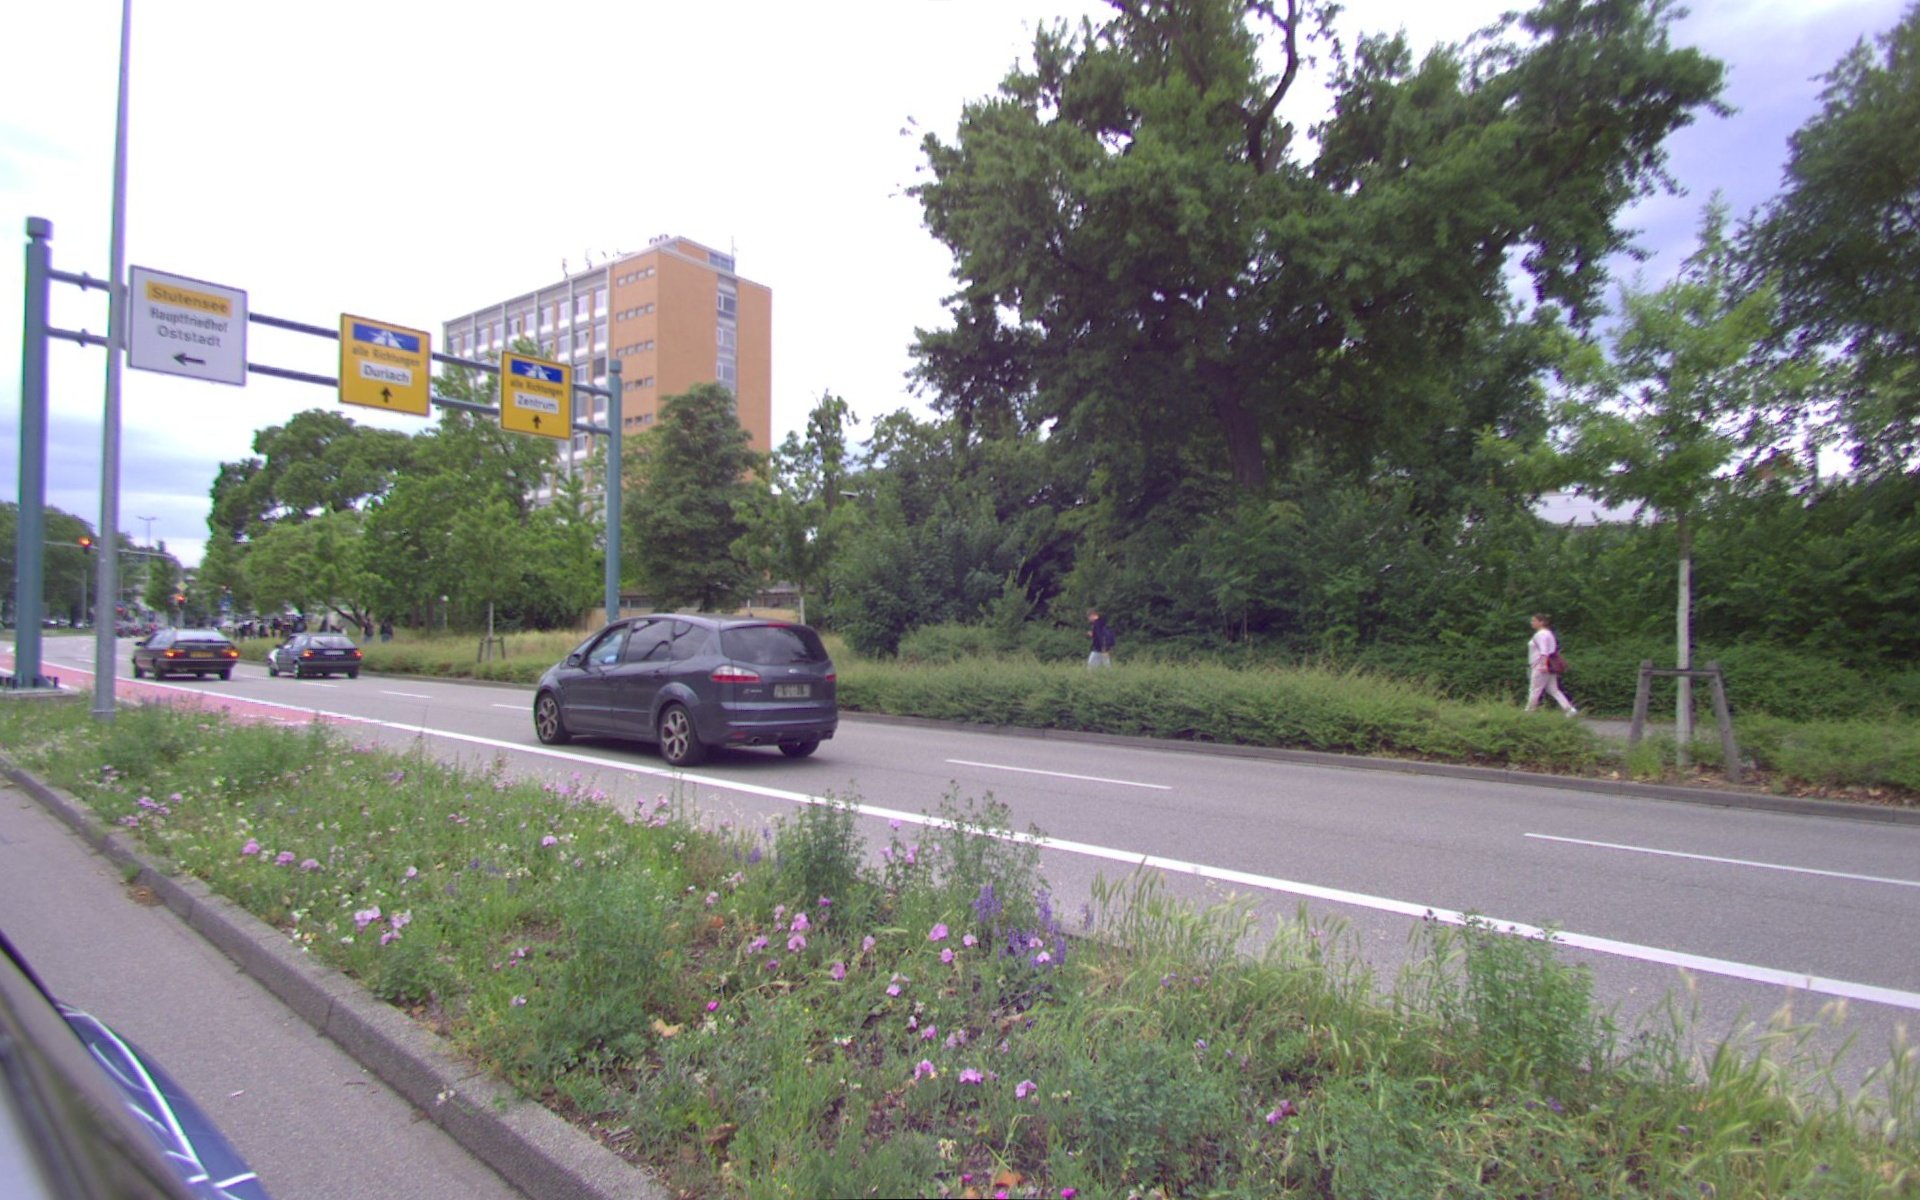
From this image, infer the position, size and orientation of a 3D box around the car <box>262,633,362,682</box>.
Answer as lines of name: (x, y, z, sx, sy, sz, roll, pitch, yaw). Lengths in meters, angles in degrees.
car: (-19.761, 1.729, 30.793, 3.807, 1.391, 1.590, -2, -4, 42)

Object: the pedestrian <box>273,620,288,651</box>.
pedestrian: (-35.673, 1.876, 53.136, 0.567, 1.621, 0.618, 3, -4, -33)

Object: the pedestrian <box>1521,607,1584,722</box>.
pedestrian: (8.862, 0.955, 15.138, 0.671, 1.648, 0.693, -2, -4, 41)

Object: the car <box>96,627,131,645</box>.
car: (-85.872, 3.643, 102.696, 1.785, 1.680, 3.962, 2, -2, -27)

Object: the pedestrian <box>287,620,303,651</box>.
pedestrian: (-35.163, 1.869, 53.495, 0.652, 1.644, 0.765, 3, -4, -34)

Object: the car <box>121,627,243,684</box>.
car: (-22.122, 1.542, 28.710, 4.788, 1.471, 1.746, -1, -4, 40)

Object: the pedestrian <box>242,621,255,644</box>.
pedestrian: (-54.512, 2.478, 77.542, 0.890, 1.683, 0.698, -2, -1, 45)

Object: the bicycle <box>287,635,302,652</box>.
bicycle: (-35.168, 2.286, 53.473, 0.652, 0.894, 1.719, 3, -3, -34)

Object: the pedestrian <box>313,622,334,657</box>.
pedestrian: (-31.217, 1.927, 49.619, 0.719, 1.673, 0.580, -1, -4, 35)

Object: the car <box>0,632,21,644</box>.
car: (-105.502, 4.184, 111.929, 1.756, 1.271, 3.541, 0, -1, -31)

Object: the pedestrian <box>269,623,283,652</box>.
pedestrian: (-40.947, 2.253, 60.587, 0.570, 1.725, 0.764, 2, -3, -31)

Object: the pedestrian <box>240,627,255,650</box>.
pedestrian: (-45.878, 2.491, 65.133, 0.762, 1.491, 0.628, -2, -4, 44)

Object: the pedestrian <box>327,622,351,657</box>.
pedestrian: (-30.808, 1.967, 50.185, 0.766, 1.685, 0.700, -1, -4, 35)

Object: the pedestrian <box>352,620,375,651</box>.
pedestrian: (-26.499, 1.571, 44.983, 0.711, 1.368, 0.638, -2, -4, 40)

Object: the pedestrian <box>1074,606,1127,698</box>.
pedestrian: (2.752, 1.014, 19.843, 0.818, 1.742, 0.613, -2, -4, 41)

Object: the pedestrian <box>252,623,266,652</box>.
pedestrian: (-41.684, 2.240, 60.206, 0.613, 1.708, 0.748, 3, -4, -34)

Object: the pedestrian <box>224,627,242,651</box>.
pedestrian: (-46.424, 2.477, 64.629, 0.813, 1.491, 0.720, -2, -4, 44)

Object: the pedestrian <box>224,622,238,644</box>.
pedestrian: (-55.289, 2.501, 76.757, 0.943, 1.683, 0.698, -2, -2, 44)

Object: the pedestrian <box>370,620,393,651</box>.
pedestrian: (-26.041, 1.612, 45.557, 0.680, 1.373, 0.638, -2, -4, 39)

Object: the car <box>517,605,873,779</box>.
car: (-3.256, 0.955, 11.964, 4.397, 1.677, 1.900, -1, -3, 41)

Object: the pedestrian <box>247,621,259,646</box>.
pedestrian: (-51.703, 2.453, 74.005, 0.762, 1.815, 0.630, -2, -3, 44)
